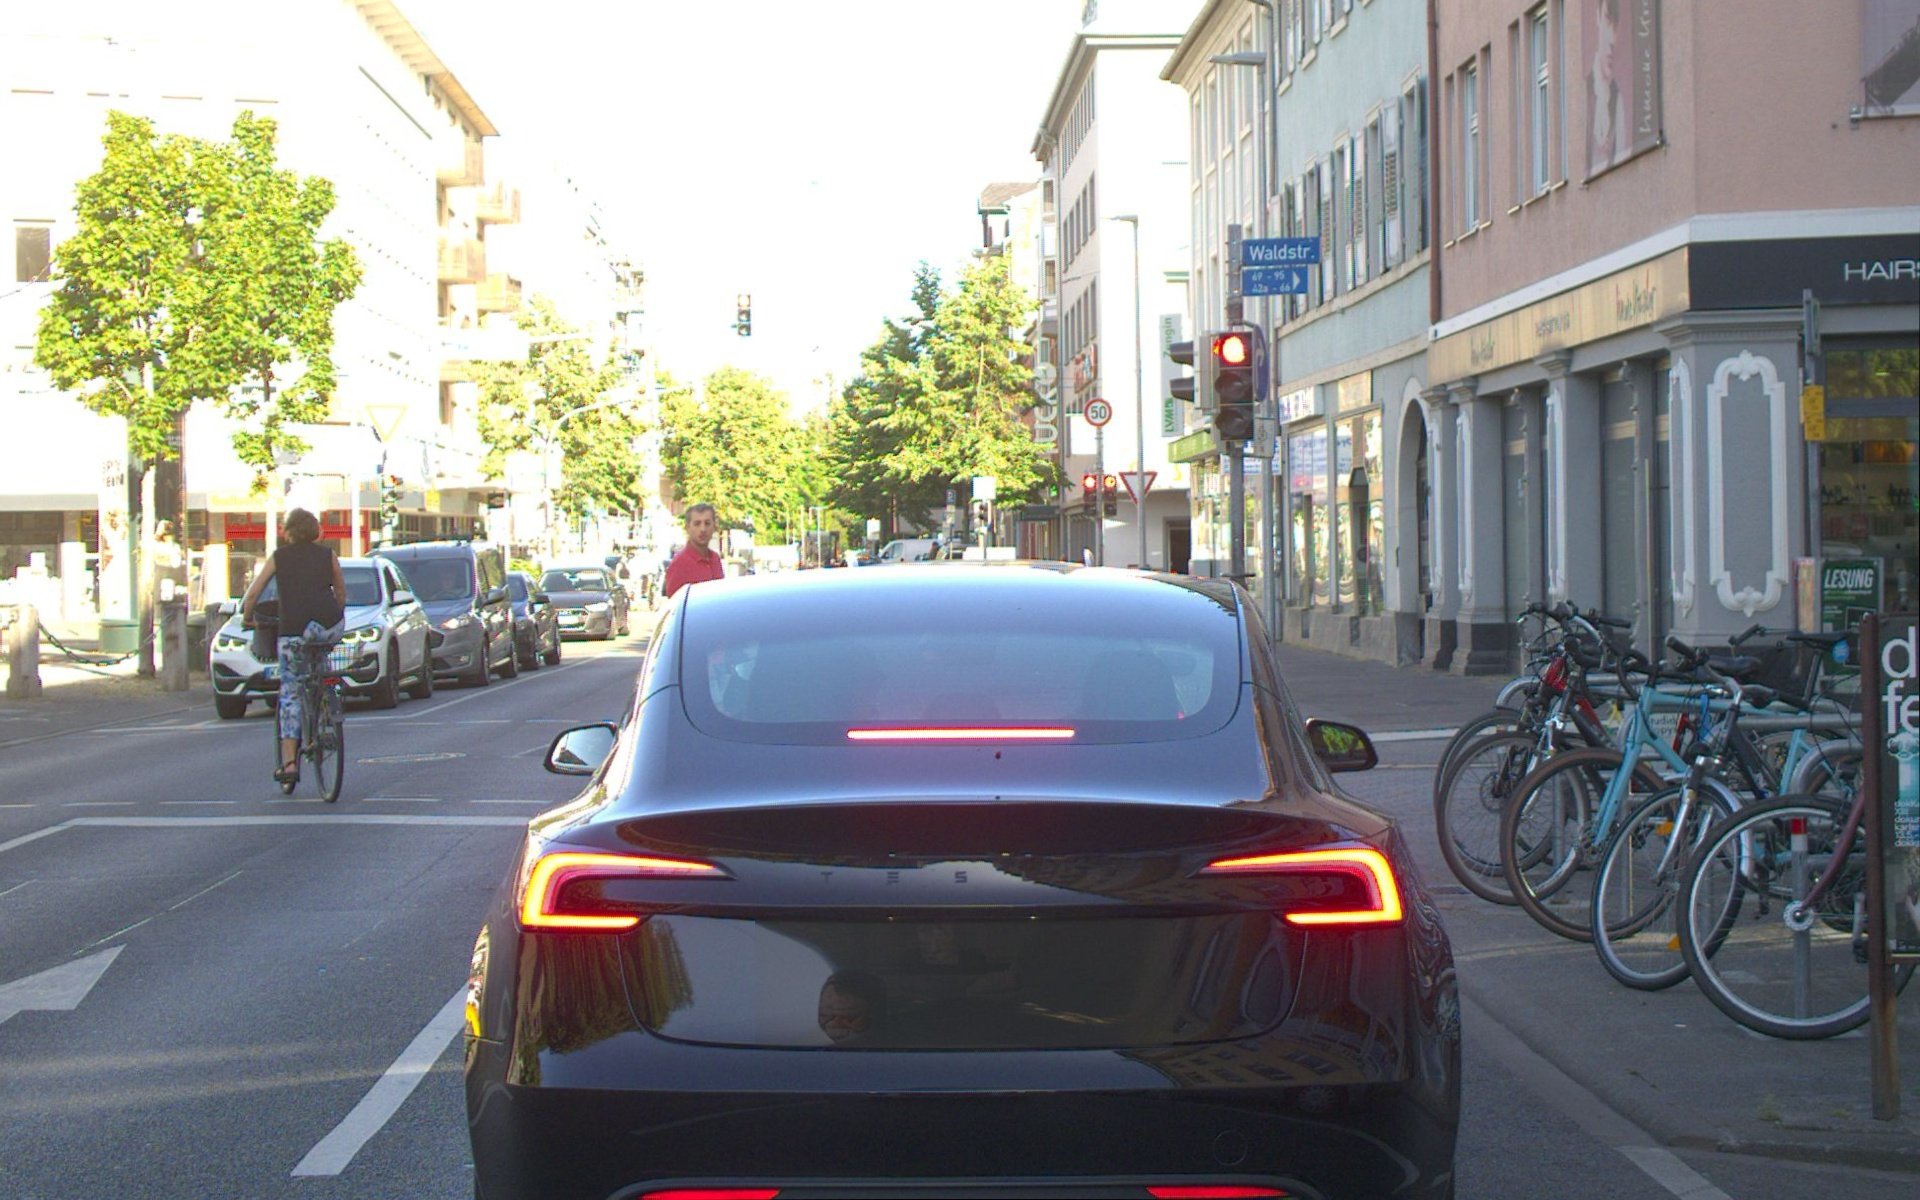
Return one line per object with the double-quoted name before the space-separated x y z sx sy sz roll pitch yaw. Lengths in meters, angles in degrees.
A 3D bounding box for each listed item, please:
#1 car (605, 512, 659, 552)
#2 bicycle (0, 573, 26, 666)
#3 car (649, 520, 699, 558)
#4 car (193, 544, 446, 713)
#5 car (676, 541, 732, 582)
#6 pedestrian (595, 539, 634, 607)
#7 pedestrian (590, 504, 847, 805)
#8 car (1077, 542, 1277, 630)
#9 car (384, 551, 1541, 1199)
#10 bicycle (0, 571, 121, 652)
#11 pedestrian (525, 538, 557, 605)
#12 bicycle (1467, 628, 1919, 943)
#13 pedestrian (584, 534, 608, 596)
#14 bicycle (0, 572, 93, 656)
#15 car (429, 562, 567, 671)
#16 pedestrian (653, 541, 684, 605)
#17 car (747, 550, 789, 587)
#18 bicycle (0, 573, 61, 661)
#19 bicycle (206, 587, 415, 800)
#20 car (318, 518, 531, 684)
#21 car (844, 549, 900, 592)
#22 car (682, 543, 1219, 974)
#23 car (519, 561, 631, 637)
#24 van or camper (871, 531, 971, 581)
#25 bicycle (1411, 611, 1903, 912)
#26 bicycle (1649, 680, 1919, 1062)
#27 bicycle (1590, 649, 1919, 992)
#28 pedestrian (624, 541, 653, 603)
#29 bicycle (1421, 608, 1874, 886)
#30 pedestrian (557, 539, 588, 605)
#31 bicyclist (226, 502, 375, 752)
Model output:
"car" -17.120 -3.529 179.635 2.275 2.007 4.717 1 1 1
"bicycle" -14.485 0.242 47.540 2.875 1.266 0.943 1 0 -3
"car" -15.644 -3.349 188.275 2.275 2.007 4.717 1 1 1
"car" -6.686 0.260 36.333 1.825 1.559 4.301 -4 1 -1
"car" -12.390 -1.864 166.445 2.414 1.963 4.678 0 1 -1
"pedestrian" -9.497 -0.749 94.615 0.734 1.861 0.789 1 0 28
"pedestrian" -1.422 0.302 20.351 1.111 1.714 1.060 1 0 27
"car" 4.711 -0.319 74.668 3.992 1.861 1.698 0 1 -21
"car" -0.023 0.633 7.767 1.850 1.442 4.452 1 1 -1
"bicycle" -14.693 0.170 54.558 2.542 1.247 0.943 1 0 -3
"pedestrian" -11.809 -0.804 96.857 0.732 1.861 0.791 1 0 -17
"bicycle" 2.801 0.661 12.522 1.813 1.098 0.653 0 1 1
"pedestrian" -10.993 -1.068 103.872 0.695 1.861 0.659 1 0 -5
"bicycle" -14.532 0.197 52.134 2.542 1.247 0.943 1 0 -3
"car" -6.652 0.211 49.790 1.461 1.425 3.606 -4 1 -1
"pedestrian" -8.451 -0.786 99.791 0.774 1.861 1.009 1 0 -11
"car" -10.437 -1.735 187.127 2.132 1.963 4.134 0 1 -1
"bicycle" -14.487 0.224 49.859 2.662 1.255 0.943 1 0 -3
"bicycle" -3.946 0.564 20.768 0.628 1.219 2.000 0 -1 -29
"car" -6.571 -0.029 42.657 1.945 1.940 4.820 0 1 -1
"car" -3.688 -1.276 145.271 2.035 1.782 4.006 0 1 4
"car" -0.059 0.529 14.191 1.850 1.476 4.452 1 1 -1
"car" -7.293 -0.033 65.407 1.693 1.385 3.916 1 1 0
"van or camper" -1.896 -2.128 167.542 4.850 2.430 1.851 0 1 -1
"bicycle" 2.732 0.625 13.595 1.813 1.148 0.653 0 1 1
"bicycle" 3.027 0.764 10.043 1.882 1.040 0.653 -1 1 1
"bicycle" 3.001 0.697 11.115 1.813 1.056 0.653 0 1 1
"pedestrian" -9.684 -0.841 103.550 0.694 1.861 0.910 1 0 -15
"bicycle" 2.924 0.617 14.730 1.813 1.148 0.653 0 1 1
"pedestrian" -10.953 -0.795 97.194 0.732 1.861 0.791 1 0 -17
"bicyclist" -4.016 0.156 20.893 0.606 1.479 0.958 1 0 -29
